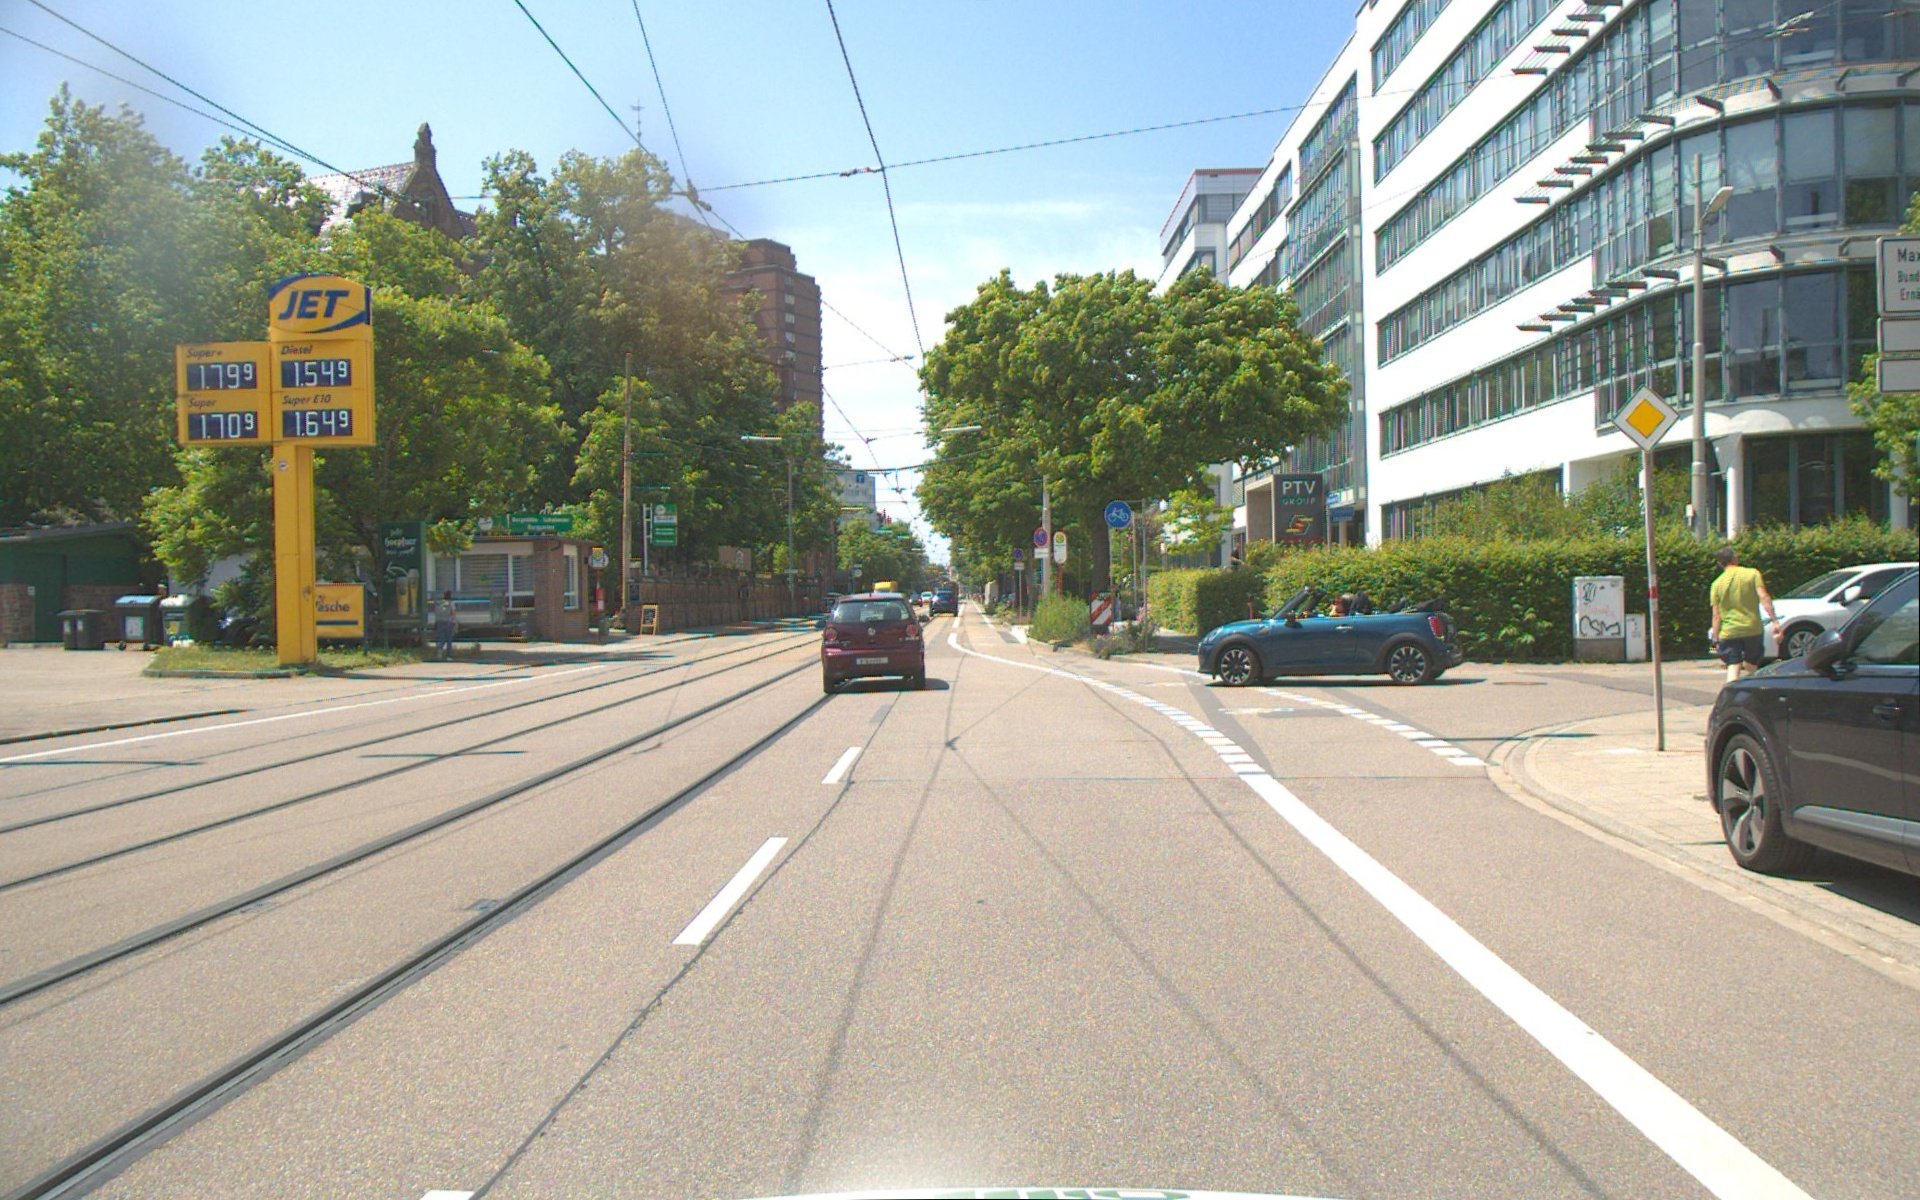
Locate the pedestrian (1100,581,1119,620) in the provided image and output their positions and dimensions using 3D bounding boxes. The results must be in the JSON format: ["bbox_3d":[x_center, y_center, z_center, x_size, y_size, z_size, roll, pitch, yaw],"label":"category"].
[{"bbox_3d":[6.757,0.037,74.812,0.531,1.745,0.560,-2,0,-29],"label":"pedestrian"}]

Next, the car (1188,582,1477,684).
[{"bbox_3d":[5.439,0.483,24.159,3.836,1.396,1.702,-1,0,25],"label":"car"}]

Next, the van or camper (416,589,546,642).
[{"bbox_3d":[-15.693,0.506,54.305,3.706,1.657,1.871,0,1,0],"label":"van or camper"}]

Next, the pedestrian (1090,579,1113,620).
[{"bbox_3d":[6.452,-0.022,75.460,0.671,1.828,0.667,-3,0,-31],"label":"pedestrian"}]

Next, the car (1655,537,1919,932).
[{"bbox_3d":[5.099,0.539,7.398,1.884,1.722,5.083,-3,0,1],"label":"car"}]

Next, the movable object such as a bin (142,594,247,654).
[{"bbox_3d":[-20.439,0.619,44.220,1.490,1.535,2.098,0,1,24],"label":"movable object such as a bin"}]

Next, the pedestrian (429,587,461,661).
[{"bbox_3d":[-12.550,0.577,40.317,0.568,1.806,0.699,0,0,-3],"label":"pedestrian"}]

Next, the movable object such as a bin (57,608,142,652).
[{"bbox_3d":[-23.618,0.814,45.422,1.376,1.157,1.563,0,1,24],"label":"movable object such as a bin"}]

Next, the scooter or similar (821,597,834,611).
[{"bbox_3d":[-11.522,0.330,144.029,1.073,1.175,0.524,0,0,-21],"label":"scooter or similar"}]

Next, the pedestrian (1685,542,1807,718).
[{"bbox_3d":[7.793,0.281,16.413,0.825,1.696,0.730,-1,0,-20],"label":"pedestrian"}]

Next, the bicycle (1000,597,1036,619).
[{"bbox_3d":[3.028,0.426,86.295,1.787,1.104,0.719,-2,-1,3],"label":"bicycle"}]

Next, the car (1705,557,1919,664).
[{"bbox_3d":[13.498,0.119,24.522,4.061,1.485,1.819,-1,0,4],"label":"car"}]

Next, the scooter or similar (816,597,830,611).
[{"bbox_3d":[-11.718,0.342,141.581,1.073,1.175,0.524,0,0,-21],"label":"scooter or similar"}]

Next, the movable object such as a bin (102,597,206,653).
[{"bbox_3d":[-21.872,0.651,44.932,1.490,1.457,2.098,0,1,24],"label":"movable object such as a bin"}]

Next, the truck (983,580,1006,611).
[{"bbox_3d":[3.052,-0.442,147.638,1.953,2.708,4.875,0,1,0],"label":"truck"}]

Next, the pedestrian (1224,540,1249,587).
[{"bbox_3d":[10.750,-1.400,64.206,0.855,1.745,1.090,-3,0,10],"label":"pedestrian"}]

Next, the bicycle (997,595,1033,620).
[{"bbox_3d":[2.838,0.383,85.333,1.845,1.203,0.694,-2,0,0],"label":"bicycle"}]

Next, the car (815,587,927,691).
[{"bbox_3d":[-1.360,0.564,26.608,1.586,1.512,4.000,-1,0,0],"label":"car"}]

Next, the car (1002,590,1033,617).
[{"bbox_3d":[3.368,0.187,98.017,1.654,1.529,3.627,-3,0,0],"label":"car"}]

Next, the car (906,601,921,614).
[{"bbox_3d":[-5.822,0.878,206.672,1.734,1.542,4.000,-1,0,0],"label":"car"}]

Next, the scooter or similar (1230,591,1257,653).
[{"bbox_3d":[5.873,0.450,34.242,0.319,1.244,1.152,0,1,21],"label":"scooter or similar"}]

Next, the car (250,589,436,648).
[{"bbox_3d":[-16.724,0.456,44.998,1.899,1.514,4.428,1,1,40],"label":"car"}]

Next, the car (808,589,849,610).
[{"bbox_3d":[-13.553,-0.034,171.009,3.903,2.049,2.001,-1,0,4],"label":"car"}]

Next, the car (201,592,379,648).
[{"bbox_3d":[-19.199,0.528,47.537,1.899,1.514,4.429,1,1,39],"label":"car"}]

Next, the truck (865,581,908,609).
[{"bbox_3d":[-7.716,-0.571,173.795,2.319,2.835,7.325,-1,0,15],"label":"truck"}]

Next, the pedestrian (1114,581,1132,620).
[{"bbox_3d":[7.450,0.014,75.623,0.531,1.745,0.560,-2,0,-29],"label":"pedestrian"}]

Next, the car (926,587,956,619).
[{"bbox_3d":[-1.280,0.171,109.607,1.953,2.049,3.999,0,1,-2],"label":"car"}]
